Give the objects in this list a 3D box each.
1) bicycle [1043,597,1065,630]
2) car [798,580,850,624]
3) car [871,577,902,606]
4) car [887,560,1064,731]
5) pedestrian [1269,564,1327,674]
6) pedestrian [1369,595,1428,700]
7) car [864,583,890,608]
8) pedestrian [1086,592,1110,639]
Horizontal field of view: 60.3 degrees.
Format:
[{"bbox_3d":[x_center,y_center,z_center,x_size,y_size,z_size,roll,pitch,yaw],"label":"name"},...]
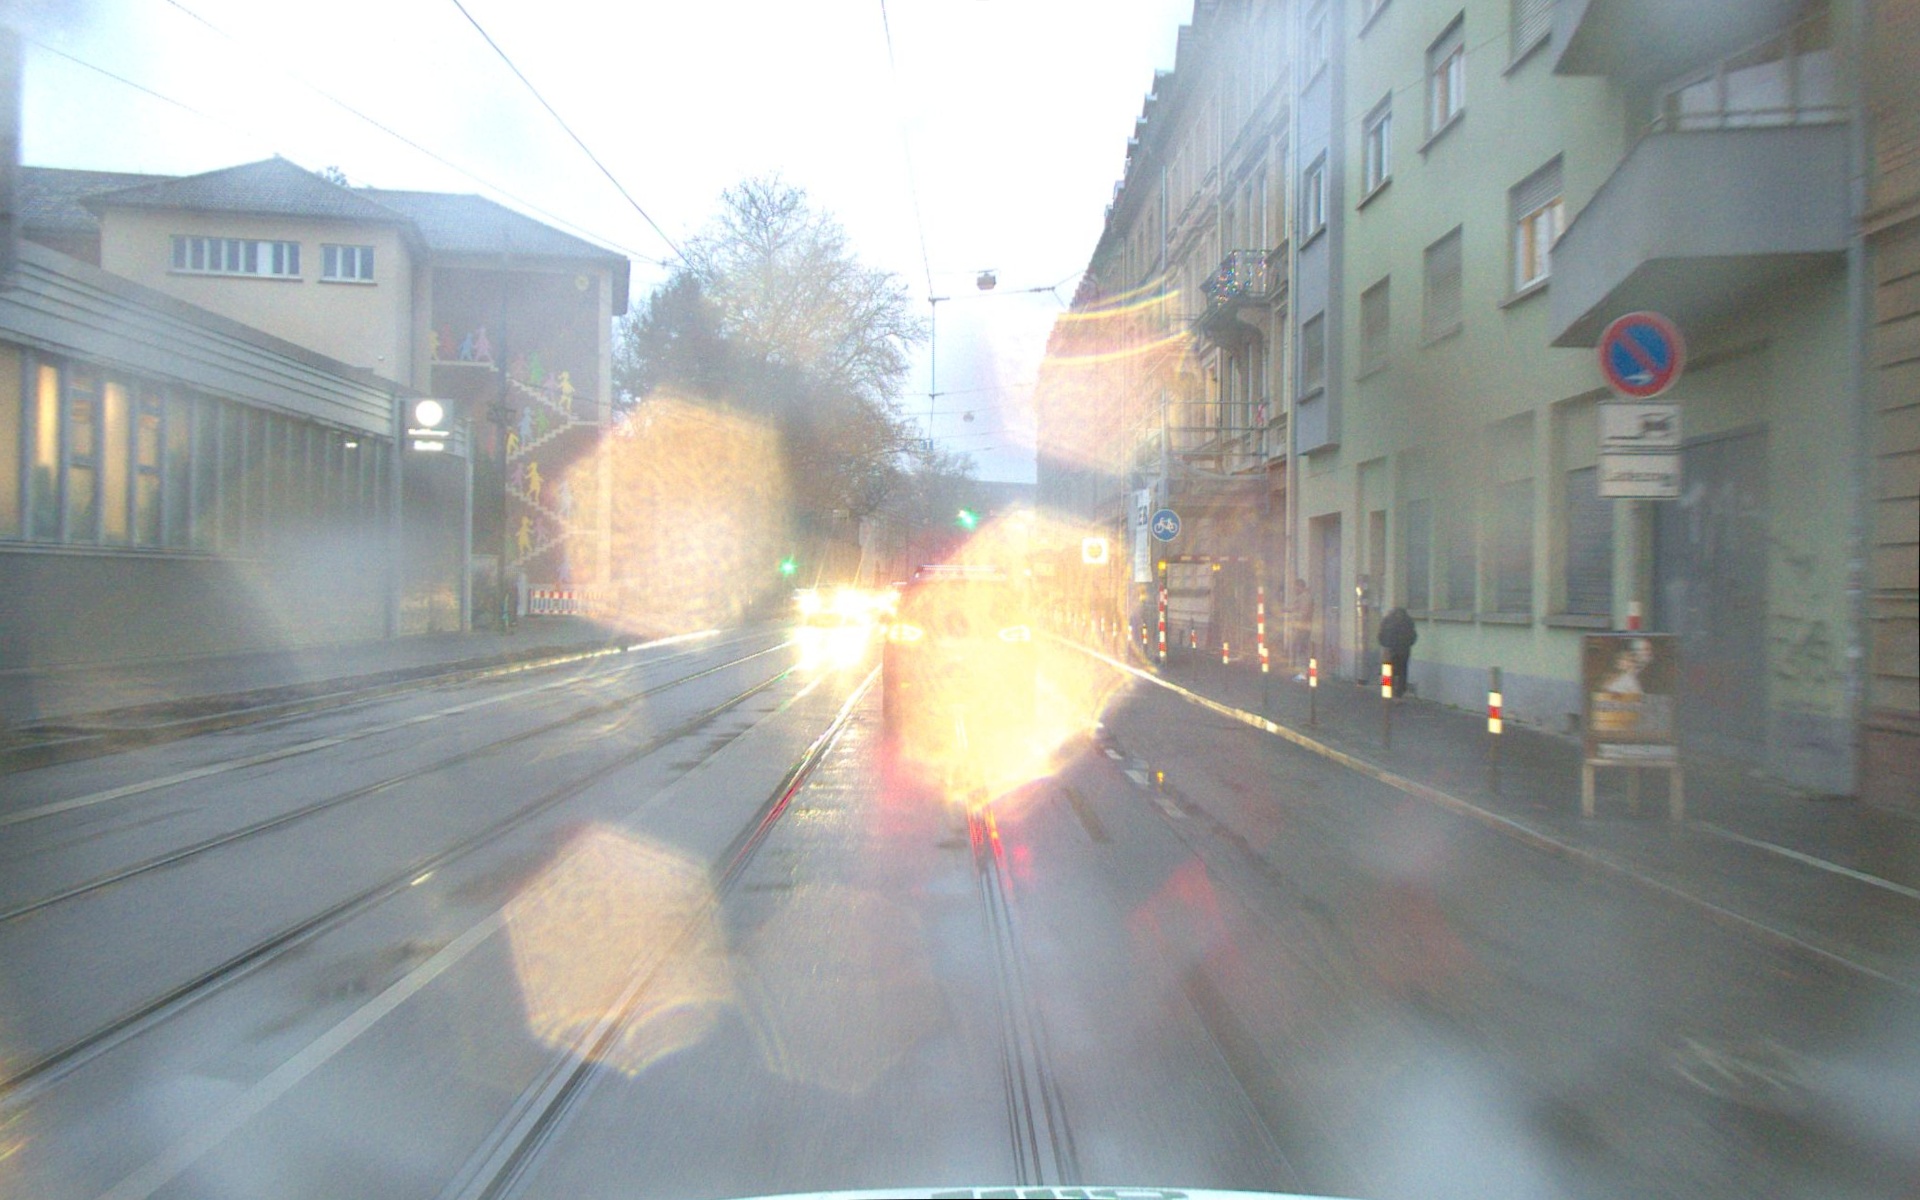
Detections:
[{"bbox_3d":[3.510,0.498,61.632,0.670,1.176,2.188,1,0,0],"label":"bicycle"},{"bbox_3d":[-5.522,0.052,67.698,1.837,1.739,4.759,-1,0,-1],"label":"car"},{"bbox_3d":[-6.257,-0.722,141.945,2.396,2.388,5.844,0,0,0],"label":"car"},{"bbox_3d":[0.243,0.498,20.398,1.952,1.874,4.001,1,0,2],"label":"car"},{"bbox_3d":[5.774,0.322,28.268,0.592,1.850,0.769,1,0,-28],"label":"pedestrian"},{"bbox_3d":[6.014,0.644,22.689,0.587,1.401,0.728,1,0,-1],"label":"pedestrian"},{"bbox_3d":[-5.189,-0.280,104.015,1.499,1.507,3.561,0,0,0],"label":"car"},{"bbox_3d":[5.142,0.561,61.425,0.817,1.731,0.954,1,0,8],"label":"pedestrian"}]
